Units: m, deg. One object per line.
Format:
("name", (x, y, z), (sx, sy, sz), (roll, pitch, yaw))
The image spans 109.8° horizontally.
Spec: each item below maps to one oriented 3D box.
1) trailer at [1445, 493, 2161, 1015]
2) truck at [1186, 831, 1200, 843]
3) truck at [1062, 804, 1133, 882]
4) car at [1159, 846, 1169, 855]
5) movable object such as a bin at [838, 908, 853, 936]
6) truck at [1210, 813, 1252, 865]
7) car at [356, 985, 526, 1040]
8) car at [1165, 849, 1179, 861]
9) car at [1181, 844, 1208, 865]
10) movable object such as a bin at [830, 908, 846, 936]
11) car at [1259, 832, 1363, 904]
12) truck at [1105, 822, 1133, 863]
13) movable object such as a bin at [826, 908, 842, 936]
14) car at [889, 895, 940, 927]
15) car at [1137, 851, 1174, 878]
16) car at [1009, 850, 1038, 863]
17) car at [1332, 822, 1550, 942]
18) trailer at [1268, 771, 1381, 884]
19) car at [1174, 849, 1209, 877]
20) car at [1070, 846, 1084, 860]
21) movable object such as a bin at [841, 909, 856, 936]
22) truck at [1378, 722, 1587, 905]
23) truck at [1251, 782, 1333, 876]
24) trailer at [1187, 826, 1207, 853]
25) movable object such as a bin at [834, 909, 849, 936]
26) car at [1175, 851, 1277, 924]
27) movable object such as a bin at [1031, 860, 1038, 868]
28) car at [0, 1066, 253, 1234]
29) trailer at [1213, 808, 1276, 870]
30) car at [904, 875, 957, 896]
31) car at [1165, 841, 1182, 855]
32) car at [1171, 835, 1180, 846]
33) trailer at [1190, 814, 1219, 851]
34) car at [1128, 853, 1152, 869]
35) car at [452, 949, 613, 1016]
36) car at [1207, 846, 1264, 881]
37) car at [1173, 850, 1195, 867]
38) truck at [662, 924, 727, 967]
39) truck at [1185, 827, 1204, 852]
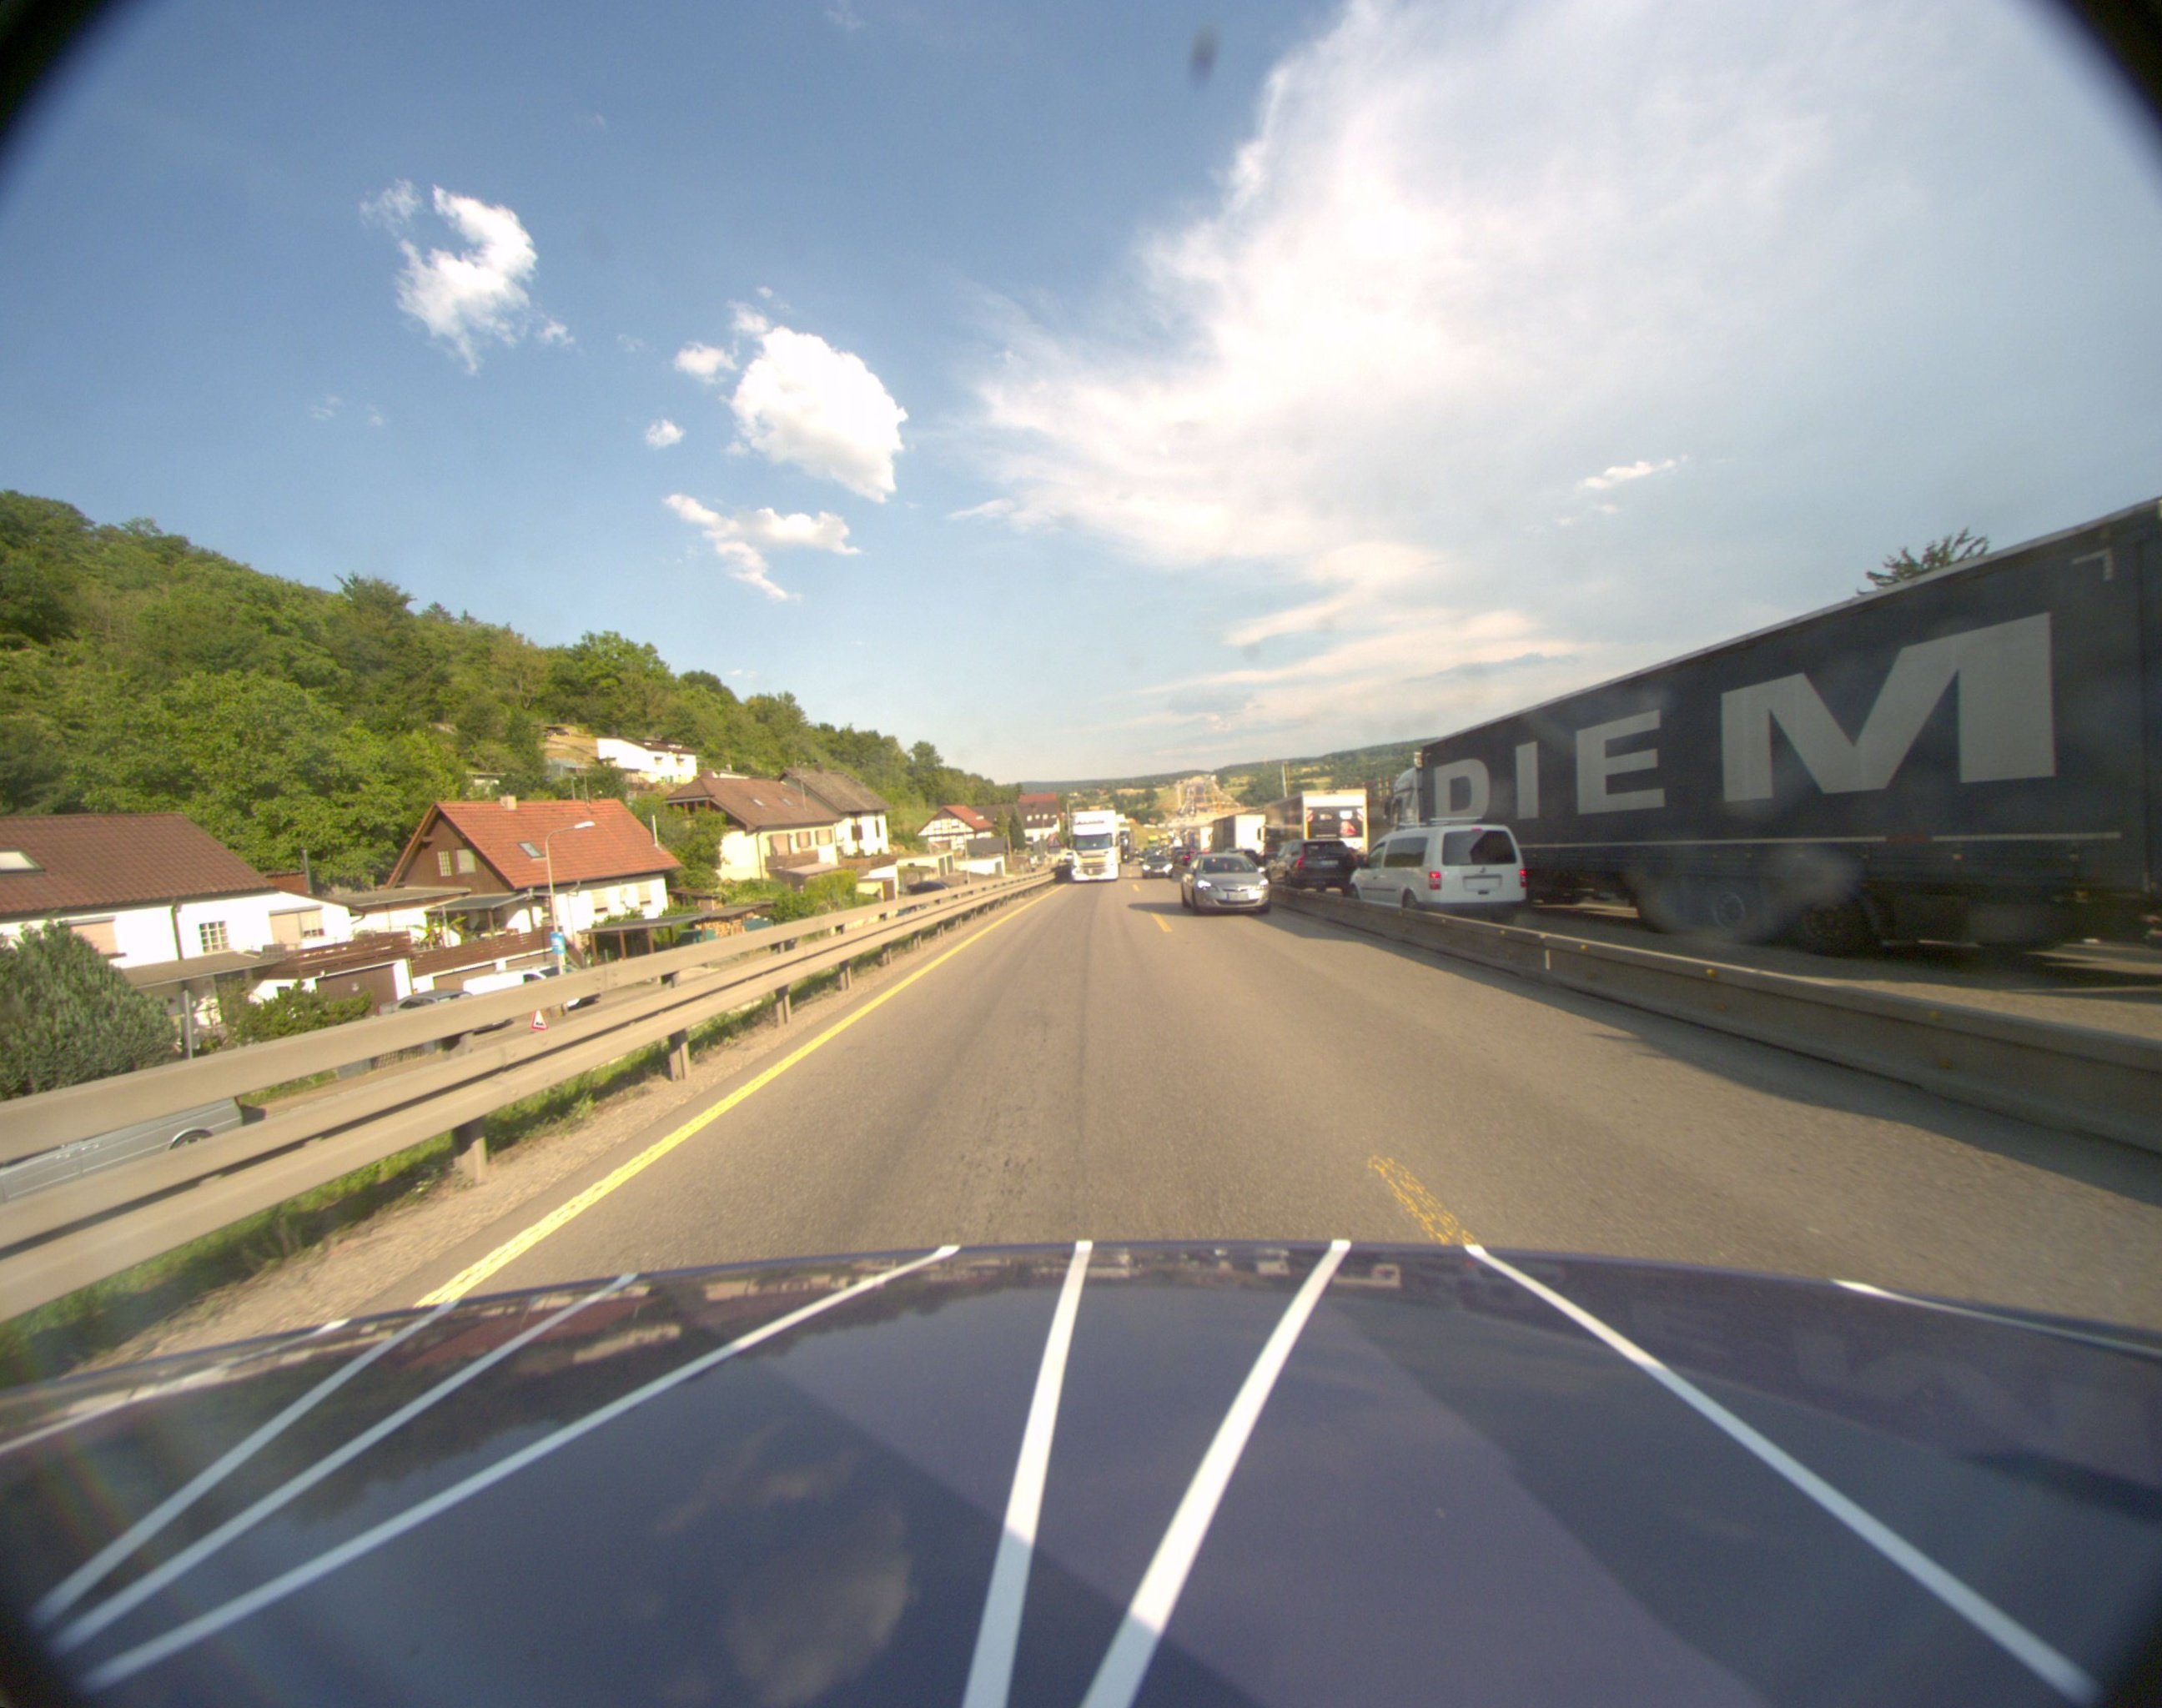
("trailer", (9.940, -0.861, 11.859), (2.721, 4.099, 12.491), (-1, 1, 1))
("truck", (30.796, -4.600, 209.139), (3.241, 3.128, 6.491), (-1, 1, 6))
("truck", (1.339, -0.745, 47.178), (2.891, 4.059, 13.898), (-1, 1, 7))
("car", (15.571, -0.593, 142.607), (1.702, 1.567, 4.371), (-1, 1, 6))
("movable object such as a bin", (-16.065, 4.639, 51.768), (0.490, 1.760, 0.414), (-12, 1, 14))
("truck", (12.931, -1.306, 65.988), (2.770, 4.179, 6.115), (-1, 1, 4))
("car", (-23.396, 5.792, 27.845), (5.100, 1.548, 1.716), (-3, 2, 9))
("car", (14.647, 0.129, 122.096), (1.884, 1.597, 4.731), (-4, 1, 4))
("car", (9.590, 0.005, 64.541), (1.771, 1.542, 4.479), (-3, 2, 3))
("movable object such as a bin", (-16.289, 4.568, 50.935), (0.536, 1.760, 0.409), (-12, 1, 14))
("car", (7.050, 0.335, 23.809), (1.837, 1.952, 4.898), (-2, 2, 1))
("truck", (4.564, -1.257, 90.114), (2.787, 4.504, 7.192), (-4, 0, 5))
("movable object such as a bin", (-16.415, 4.510, 50.517), (0.530, 1.760, 0.416), (-12, 1, 14))
("car", (-11.839, 4.064, 54.209), (1.770, 1.589, 3.619), (-7, 2, 19))
("car", (4.413, 0.619, 45.453), (1.823, 1.433, 4.000), (-3, 0, 2))
("car", (-8.525, 0.422, 113.541), (3.994, 1.829, 1.750), (0, 3, 7))
("car", (6.671, 0.397, 14.865), (1.828, 1.922, 5.129), (1, 1, 1))
("trailer", (10.711, -1.135, 34.248), (2.918, 4.440, 7.152), (-2, 1, 2))
("car", (7.722, 0.606, 53.484), (1.867, 1.577, 4.745), (-5, 2, 3))
("car", (-0.612, -0.236, 122.516), (1.823, 1.931, 4.284), (-3, 2, 5))
("movable object such as a bin", (-15.956, 4.676, 52.196), (0.490, 1.760, 0.414), (-12, 1, 14))
("truck", (10.035, -0.936, 19.624), (2.756, 4.091, 5.030), (-1, 1, 0))
("truck", (10.914, -1.253, 39.709), (2.926, 4.488, 5.027), (-2, 1, 2))
("trailer", (18.847, -2.383, 124.085), (2.821, 4.082, 8.289), (-1, 1, 6))
("movable object such as a bin", (-16.159, 4.625, 51.346), (0.490, 1.760, 0.414), (-12, 1, 14))
("car", (3.466, 0.734, 18.891), (1.810, 1.478, 4.118), (-3, 1, 2))
("movable object such as a bin", (-6.085, 1.325, 100.005), (0.723, 0.995, 0.677), (-4, 2, 7))
("car", (-21.199, 6.186, 15.832), (1.999, 1.907, 4.865), (-1, 3, 12))
("trailer", (12.547, -1.172, 59.655), (2.782, 4.179, 13.833), (-1, 1, 4))
("car", (-14.378, 2.977, 72.758), (4.501, 1.517, 2.000), (4, 4, 10))
("car", (12.486, -0.833, 102.685), (2.012, 1.645, 4.974), (-4, 1, 4))
("car", (23.797, -3.389, 191.259), (2.000, 2.601, 5.615), (-1, 1, 7))
("trailer", (15.268, -2.634, 94.937), (2.461, 4.295, 13.777), (-1, 1, 5))
("car", (6.040, 0.697, 78.226), (1.999, 1.565, 3.998), (-2, 1, -2))
("car", (-22.864, 5.351, 31.753), (5.477, 2.251, 2.000), (-3, 2, 9))
("car", (7.685, 0.402, 38.203), (1.881, 1.596, 5.368), (0, 1, 1))
("car", (10.481, 0.432, 77.557), (1.778, 1.448, 4.814), (-3, 2, 3))
("truck", (-21.290, 4.978, 41.789), (2.002, 1.729, 3.990), (-12, 5, -40))
("truck", (19.853, -2.576, 133.524), (2.821, 4.234, 10.583), (-1, 1, 6))
